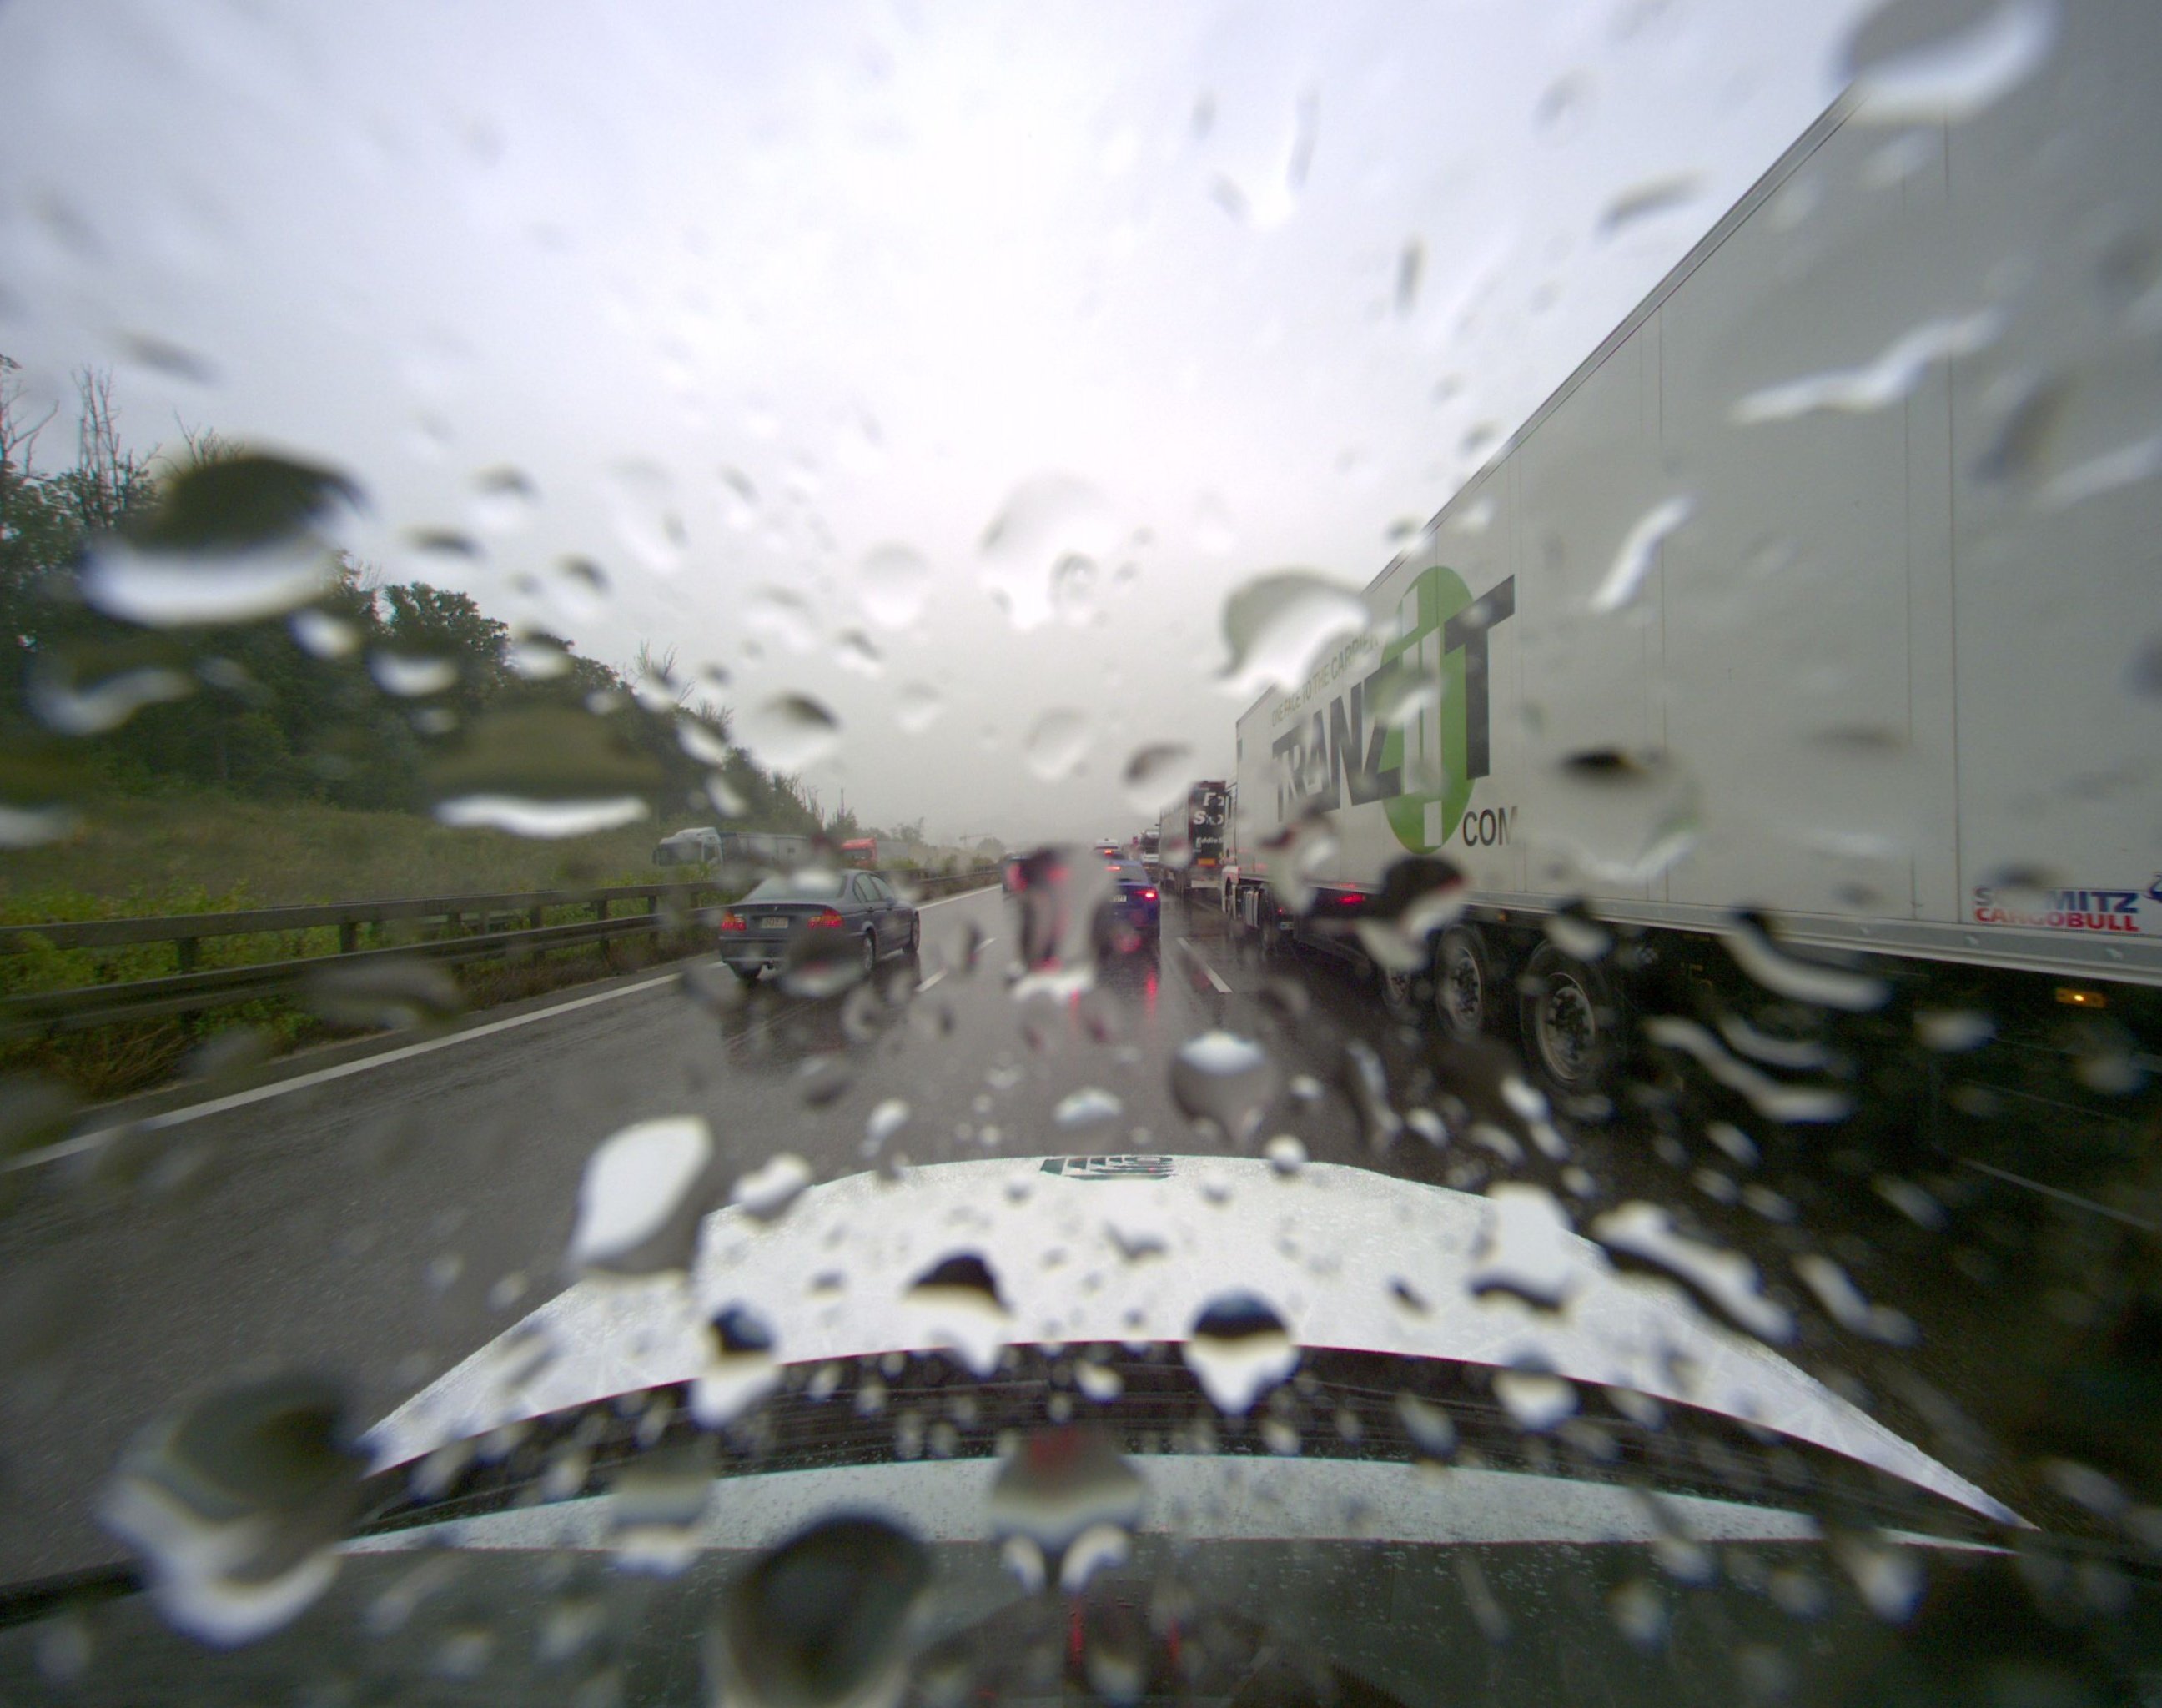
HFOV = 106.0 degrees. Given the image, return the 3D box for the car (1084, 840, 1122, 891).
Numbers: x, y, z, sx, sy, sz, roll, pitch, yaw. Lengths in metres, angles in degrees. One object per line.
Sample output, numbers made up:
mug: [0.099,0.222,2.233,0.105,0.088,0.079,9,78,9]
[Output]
car: [0.859,0.407,30.698,1.331,1.780,3.323,-1,0,2]

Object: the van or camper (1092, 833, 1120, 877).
van or camper: [1.707,0.064,55.648,1.790,2.806,4.770,-1,0,2]

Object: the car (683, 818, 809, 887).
car: [-19.419,-0.039,48.202,2.676,3.611,10.975,0,0,1]

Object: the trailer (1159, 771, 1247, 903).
trailer: [4.440,-0.553,31.709,2.039,4.176,11.454,-1,0,2]

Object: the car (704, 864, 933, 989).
car: [-3.482,0.880,11.714,1.711,1.400,4.233,-1,0,3]

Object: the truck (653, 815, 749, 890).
truck: [-19.400,-0.065,41.811,2.677,3.611,4.606,0,0,1]

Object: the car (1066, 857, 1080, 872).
car: [-0.907,1.182,92.508,1.434,1.533,3.323,-1,0,2]

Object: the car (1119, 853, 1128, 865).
car: [6.515,0.827,125.203,1.443,1.784,3.411,0,0,2]

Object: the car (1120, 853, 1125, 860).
car: [11.011,0.666,216.468,1.443,1.784,3.411,0,0,2]

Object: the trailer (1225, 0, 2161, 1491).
trailer: [3.929,-0.644,8.777,2.620,4.013,14.636,-1,0,2]

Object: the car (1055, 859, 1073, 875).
car: [-1.553,1.180,75.234,1.434,1.420,3.323,-1,0,2]

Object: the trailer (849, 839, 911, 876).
trailer: [-18.636,0.339,76.461,2.676,3.151,11.090,0,0,2]

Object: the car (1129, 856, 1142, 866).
car: [7.231,0.932,108.540,1.632,1.328,3.368,-1,1,2]

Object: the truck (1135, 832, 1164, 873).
truck: [6.042,-0.136,72.641,1.986,3.421,8.033,-1,0,1]

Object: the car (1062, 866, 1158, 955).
car: [0.593,0.995,15.918,1.629,1.445,4.003,-1,0,3]

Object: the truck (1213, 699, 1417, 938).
truck: [4.171,-0.577,15.582,2.620,3.827,4.793,-1,0,2]

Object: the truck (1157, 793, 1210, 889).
truck: [4.671,-0.586,37.681,2.039,4.193,4.002,-1,0,2]

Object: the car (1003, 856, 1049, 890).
car: [-2.571,0.880,39.186,1.714,1.523,4.003,-1,0,3]

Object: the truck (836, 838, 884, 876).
truck: [-18.895,0.289,69.813,2.676,3.151,4.608,0,0,2]

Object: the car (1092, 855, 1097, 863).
car: [3.077,1.143,188.665,1.188,1.750,3.077,-1,0,2]
